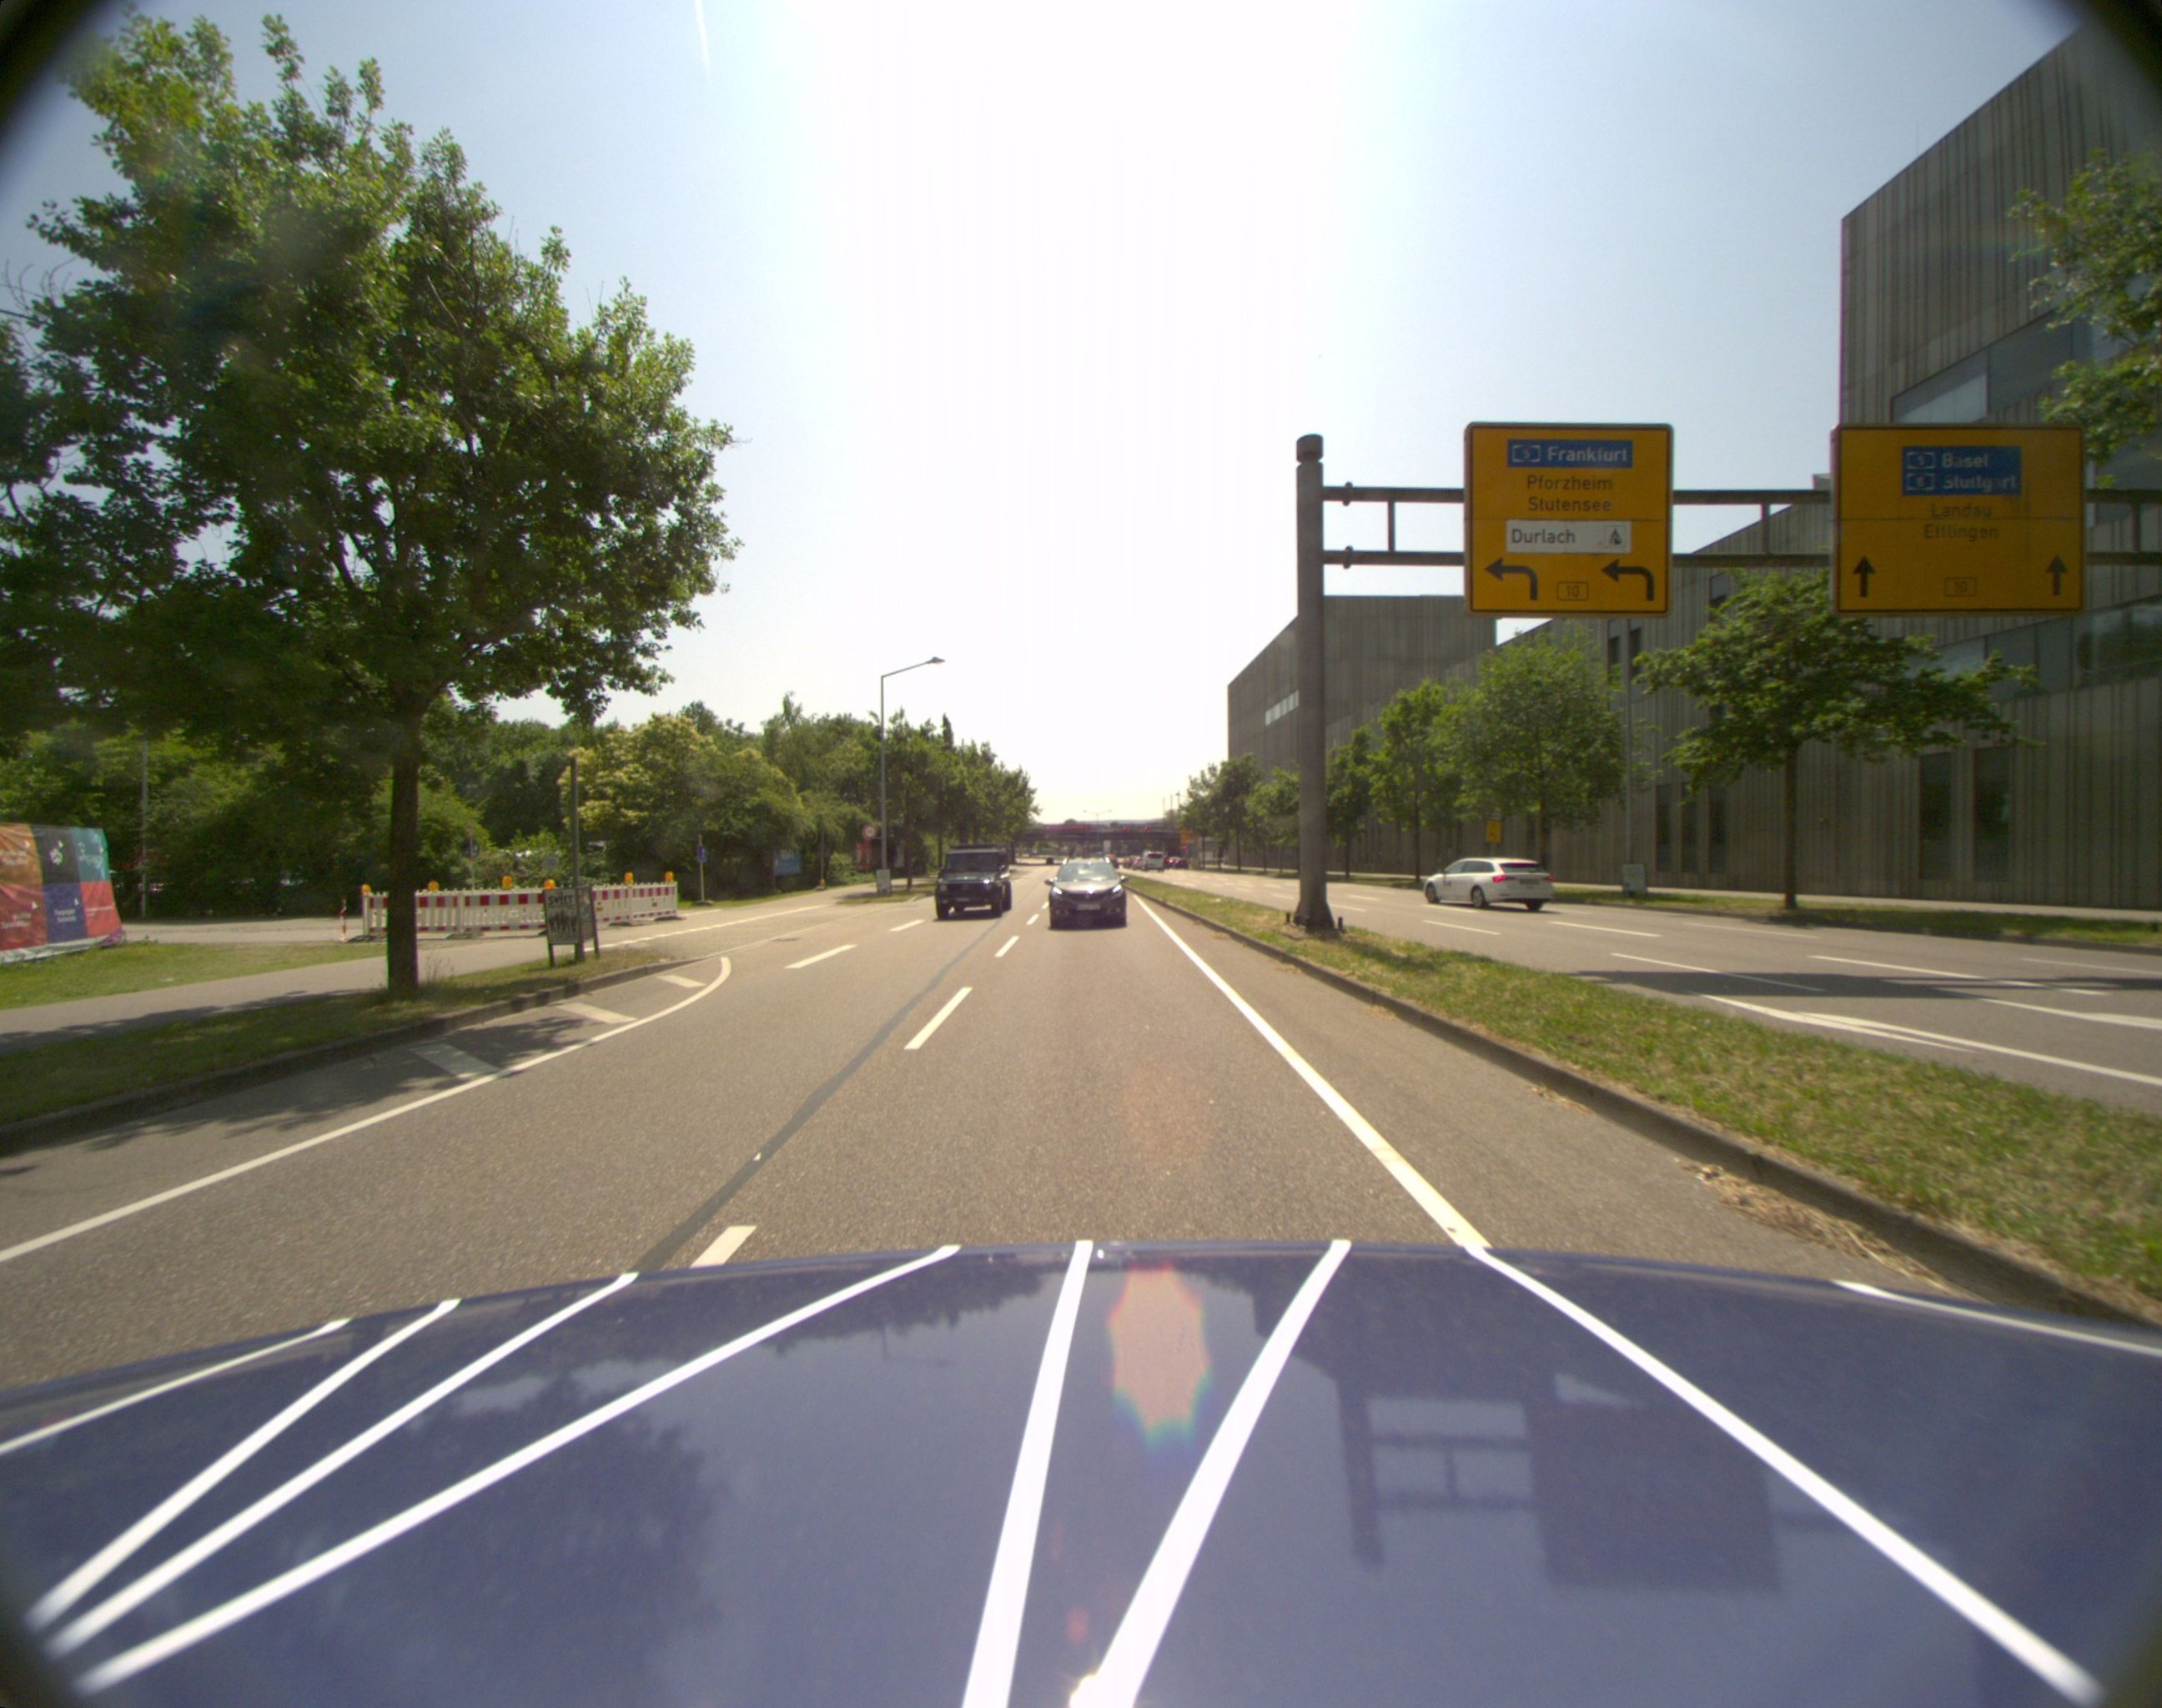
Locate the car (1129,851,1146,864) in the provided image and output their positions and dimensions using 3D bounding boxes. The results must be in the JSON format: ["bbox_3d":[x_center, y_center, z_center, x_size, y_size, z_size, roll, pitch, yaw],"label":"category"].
[{"bbox_3d":[7.184,0.399,96.820,1.807,1.653,4.573,0,0,1],"label":"car"}]

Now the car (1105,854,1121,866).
[{"bbox_3d":[4.041,0.759,97.282,1.815,1.458,4.057,1,0,-1],"label":"car"}]

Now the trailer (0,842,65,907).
[{"bbox_3d":[-56.155,1.052,38.910,2.716,3.311,4.001,-1,0,4],"label":"trailer"}]

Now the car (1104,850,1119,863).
[{"bbox_3d":[4.170,0.338,104.145,1.815,1.790,4.713,1,0,-1],"label":"car"}]

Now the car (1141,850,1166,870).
[{"bbox_3d":[7.442,0.638,78.311,1.914,1.981,4.897,1,0,-2],"label":"car"}]

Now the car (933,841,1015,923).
[{"bbox_3d":[-3.021,0.729,22.339,1.842,2.141,4.556,-1,1,-2],"label":"car"}]

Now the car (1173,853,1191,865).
[{"bbox_3d":[12.995,0.660,97.980,1.625,1.447,4.017,0,0,-1],"label":"car"}]

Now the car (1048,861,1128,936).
[{"bbox_3d":[0.193,0.957,18.333,1.619,1.502,4.458,-3,0,1],"label":"car"}]

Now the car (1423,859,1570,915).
[{"bbox_3d":[11.869,0.890,22.075,1.815,1.419,4.358,1,0,-1],"label":"car"}]

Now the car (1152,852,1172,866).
[{"bbox_3d":[10.277,0.661,96.416,1.815,1.736,4.644,-1,0,-3],"label":"car"}]

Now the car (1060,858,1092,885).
[{"bbox_3d":[-0.349,1.024,45.575,1.817,1.456,3.999,-1,0,-1],"label":"car"}]

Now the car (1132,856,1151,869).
[{"bbox_3d":[6.925,0.942,87.346,1.770,1.452,4.144,1,0,-2],"label":"car"}]

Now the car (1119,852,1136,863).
[{"bbox_3d":[6.321,0.450,103.827,1.815,1.437,4.249,0,0,-3],"label":"car"}]

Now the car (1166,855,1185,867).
[{"bbox_3d":[12.908,0.967,104.049,1.815,1.534,4.369,-1,0,-2],"label":"car"}]
